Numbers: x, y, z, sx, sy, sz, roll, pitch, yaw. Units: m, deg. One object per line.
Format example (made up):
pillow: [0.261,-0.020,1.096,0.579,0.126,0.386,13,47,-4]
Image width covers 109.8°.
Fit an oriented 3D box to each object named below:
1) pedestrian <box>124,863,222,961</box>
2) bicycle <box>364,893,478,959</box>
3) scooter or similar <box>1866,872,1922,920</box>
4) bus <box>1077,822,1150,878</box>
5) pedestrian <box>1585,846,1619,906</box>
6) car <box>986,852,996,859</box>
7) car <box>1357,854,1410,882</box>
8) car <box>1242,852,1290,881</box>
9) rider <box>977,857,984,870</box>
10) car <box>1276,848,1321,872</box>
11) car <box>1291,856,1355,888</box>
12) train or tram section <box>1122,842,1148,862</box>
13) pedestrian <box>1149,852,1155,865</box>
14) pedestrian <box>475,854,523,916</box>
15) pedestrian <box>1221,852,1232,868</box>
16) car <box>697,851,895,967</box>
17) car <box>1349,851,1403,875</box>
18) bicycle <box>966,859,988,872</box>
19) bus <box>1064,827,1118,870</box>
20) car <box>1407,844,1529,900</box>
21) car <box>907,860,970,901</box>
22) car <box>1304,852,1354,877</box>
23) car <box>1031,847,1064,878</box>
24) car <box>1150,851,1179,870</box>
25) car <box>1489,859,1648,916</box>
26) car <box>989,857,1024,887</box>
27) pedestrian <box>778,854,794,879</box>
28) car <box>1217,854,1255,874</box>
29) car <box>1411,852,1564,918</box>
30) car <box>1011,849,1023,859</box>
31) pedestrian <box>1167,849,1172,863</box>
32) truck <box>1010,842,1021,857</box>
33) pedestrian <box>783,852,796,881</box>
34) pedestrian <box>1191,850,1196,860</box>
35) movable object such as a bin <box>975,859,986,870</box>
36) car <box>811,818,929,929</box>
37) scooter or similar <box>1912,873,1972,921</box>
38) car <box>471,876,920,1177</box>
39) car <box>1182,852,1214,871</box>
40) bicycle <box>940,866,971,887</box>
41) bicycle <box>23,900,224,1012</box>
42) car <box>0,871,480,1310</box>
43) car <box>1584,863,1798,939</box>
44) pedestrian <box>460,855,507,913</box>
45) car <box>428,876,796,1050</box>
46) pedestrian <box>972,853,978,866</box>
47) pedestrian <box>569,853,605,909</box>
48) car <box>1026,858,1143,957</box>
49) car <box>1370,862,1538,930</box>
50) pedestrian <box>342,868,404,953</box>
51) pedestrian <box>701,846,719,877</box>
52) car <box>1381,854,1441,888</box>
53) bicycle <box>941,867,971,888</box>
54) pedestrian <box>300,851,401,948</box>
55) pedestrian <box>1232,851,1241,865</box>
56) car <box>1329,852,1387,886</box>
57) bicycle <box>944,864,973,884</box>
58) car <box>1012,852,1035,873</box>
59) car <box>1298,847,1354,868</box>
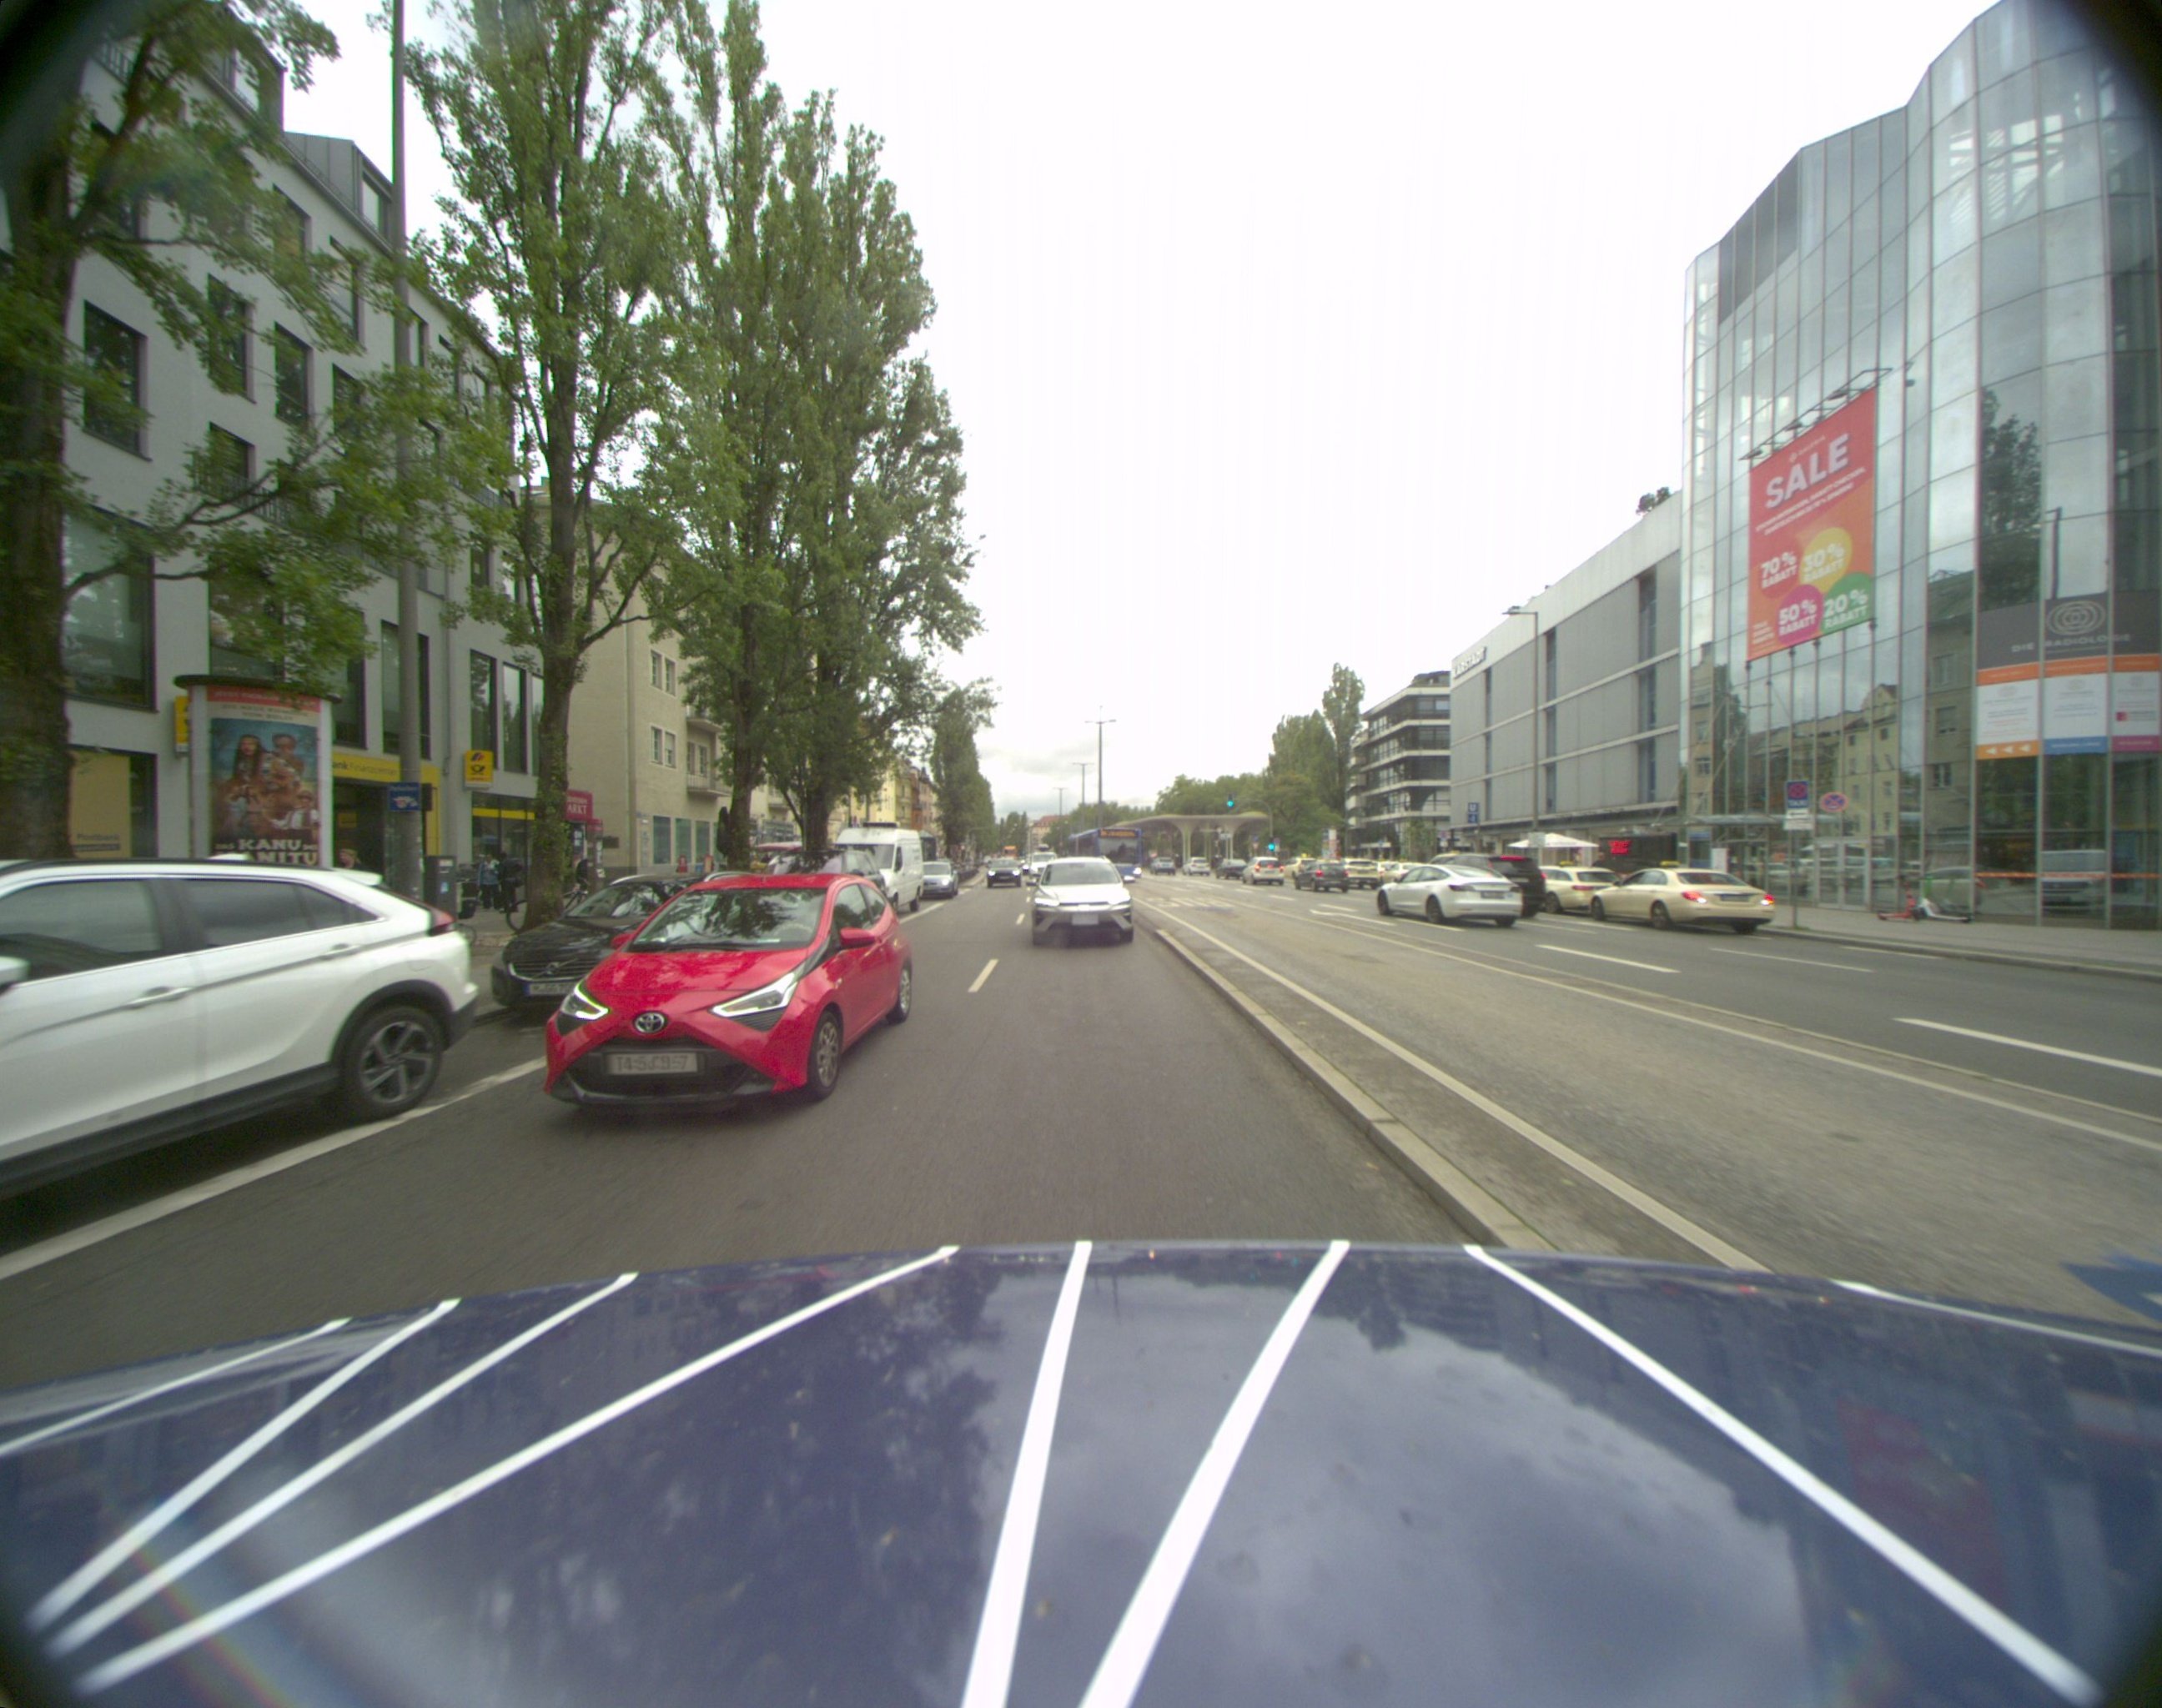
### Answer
pedestrian: [-14.886,0.936,12.483,0.684,1.549,0.750,0,1,-3]
bicycle: [-10.915,1.173,12.606,1.304,1.018,0.571,0,2,-13]
scooter or similar: [21.414,1.093,20.024,0.255,1.217,0.996,0,1,-11]
bus: [1.714,-0.288,46.263,2.943,2.927,11.206,-1,1,-5]
pedestrian: [16.662,0.680,24.325,0.786,1.856,0.848,2,2,30]
car: [-20.625,0.382,174.394,1.999,1.630,3.998,0,0,-5]
car: [17.954,0.800,45.256,1.756,1.527,4.001,0,0,3]
car: [10.818,0.691,44.685,1.958,1.580,4.000,0,0,2]
rider: [-10.095,0.956,76.255,0.732,1.234,0.732,2,1,-8]
car: [15.414,0.418,54.038,1.591,1.602,4.474,0,0,-5]
car: [11.756,0.842,37.155,1.788,1.457,3.999,1,0,-1]
train or tram section: [8.368,-0.356,118.292,2.842,2.983,7.403,0,0,-5]
pedestrian: [9.298,0.554,99.635,0.712,1.738,0.788,0,1,-5]
pedestrian: [-15.769,0.816,20.609,0.693,1.639,0.798,0,1,-5]
pedestrian: [13.935,0.592,72.590,0.640,1.542,0.759,-2,2,-30]
car: [-5.146,0.880,14.553,1.934,1.794,4.779,-1,0,0]
car: [19.685,0.597,50.906,1.912,1.558,3.999,0,0,-3]
bicycle: [-8.723,0.963,63.700,1.791,1.131,0.591,-1,1,31]
bus: [0.600,-0.442,58.071,2.943,2.927,11.206,-1,1,-5]
car: [15.172,0.636,30.204,1.999,2.002,5.320,1,0,-2]
car: [-5.726,1.035,31.018,1.729,1.445,4.147,-2,0,0]
car: [15.554,0.628,47.915,1.950,1.532,4.849,0,0,5]
car: [-2.220,0.514,49.805,1.999,1.889,4.233,-2,1,-4]
car: [7.287,0.582,66.760,1.822,1.536,3.998,2,0,-3]
car: [15.179,0.968,24.082,1.982,1.543,5.086,0,0,3]
car: [-4.063,0.922,40.793,1.741,1.461,4.047,-1,0,-7]
pedestrian: [-17.929,0.770,46.220,0.678,1.519,0.729,0,1,-3]
car: [11.101,0.692,54.712,1.734,1.401,4.687,0,0,-1]
car: [11.781,0.812,22.505,2.023,1.706,4.983,0,0,2]
car: [-10.504,-0.003,123.658,1.859,1.696,3.997,1,0,-6]
pedestrian: [11.782,0.308,101.145,0.666,1.840,0.789,0,1,15]
truck: [-15.025,-1.015,174.091,2.542,3.468,7.747,0,0,-4]
pedestrian: [-18.036,0.758,47.087,0.718,1.818,0.728,0,1,-19]
pedestrian: [15.385,0.104,104.015,0.549,1.330,0.591,0,1,-5]
movable object such as a bin: [-10.116,1.101,76.359,1.090,1.056,0.747,2,1,-8]
car: [-5.838,0.445,21.797,1.999,2.726,5.552,-1,1,-3]
scooter or similar: [22.395,1.102,19.769,0.255,1.166,0.996,0,1,-18]
car: [-2.466,0.993,5.930,1.669,1.438,3.595,-1,1,-1]
car: [10.302,0.634,67.089,1.999,1.591,4.288,0,0,-2]
bicycle: [-7.130,1.280,43.074,1.797,1.048,0.548,-4,-1,34]
bicycle: [-11.184,1.154,8.902,1.511,1.133,0.895,1,1,13]
car: [-5.170,0.983,3.230,1.731,1.676,4.407,-1,0,-1]
car: [14.384,1.008,18.384,1.860,1.461,4.986,2,0,11]
pedestrian: [-16.650,0.828,21.189,0.693,1.576,0.772,0,1,-5]
car: [-5.234,1.083,9.398,1.776,1.425,4.570,-2,0,-2]
pedestrian: [-14.043,0.712,100.406,0.732,1.792,0.709,0,2,-14]
pedestrian: [-15.760,0.845,24.255,0.719,1.714,0.741,1,1,33]
car: [-0.062,0.889,14.507,1.897,1.483,3.998,-2,1,-4]
car: [8.979,0.930,18.817,1.804,1.386,4.690,0,0,-1]
pedestrian: [-11.555,0.911,12.419,0.597,1.334,0.391,-2,2,-25]
pedestrian: [-19.674,0.397,40.322,0.602,1.641,0.765,0,1,-2]
car: [17.092,0.831,39.571,1.775,1.607,4.002,1,0,7]
bicycle: [-6.833,1.298,41.532,1.572,1.048,0.548,-4,-1,34]
pedestrian: [-12.805,0.767,13.356,0.802,1.627,1.023,0,1,-3]
pedestrian: [19.387,0.465,95.018,0.861,1.767,0.980,0,1,-4]
car: [14.933,0.779,41.218,1.889,1.689,4.385,2,0,6]
bicycle: [-7.415,1.239,46.017,1.797,1.098,0.548,-4,-1,34]
car: [-5.073,0.723,67.126,1.873,1.760,4.233,-2,1,-4]
car: [18.391,0.241,57.287,1.861,1.502,4.291,0,0,-19]
